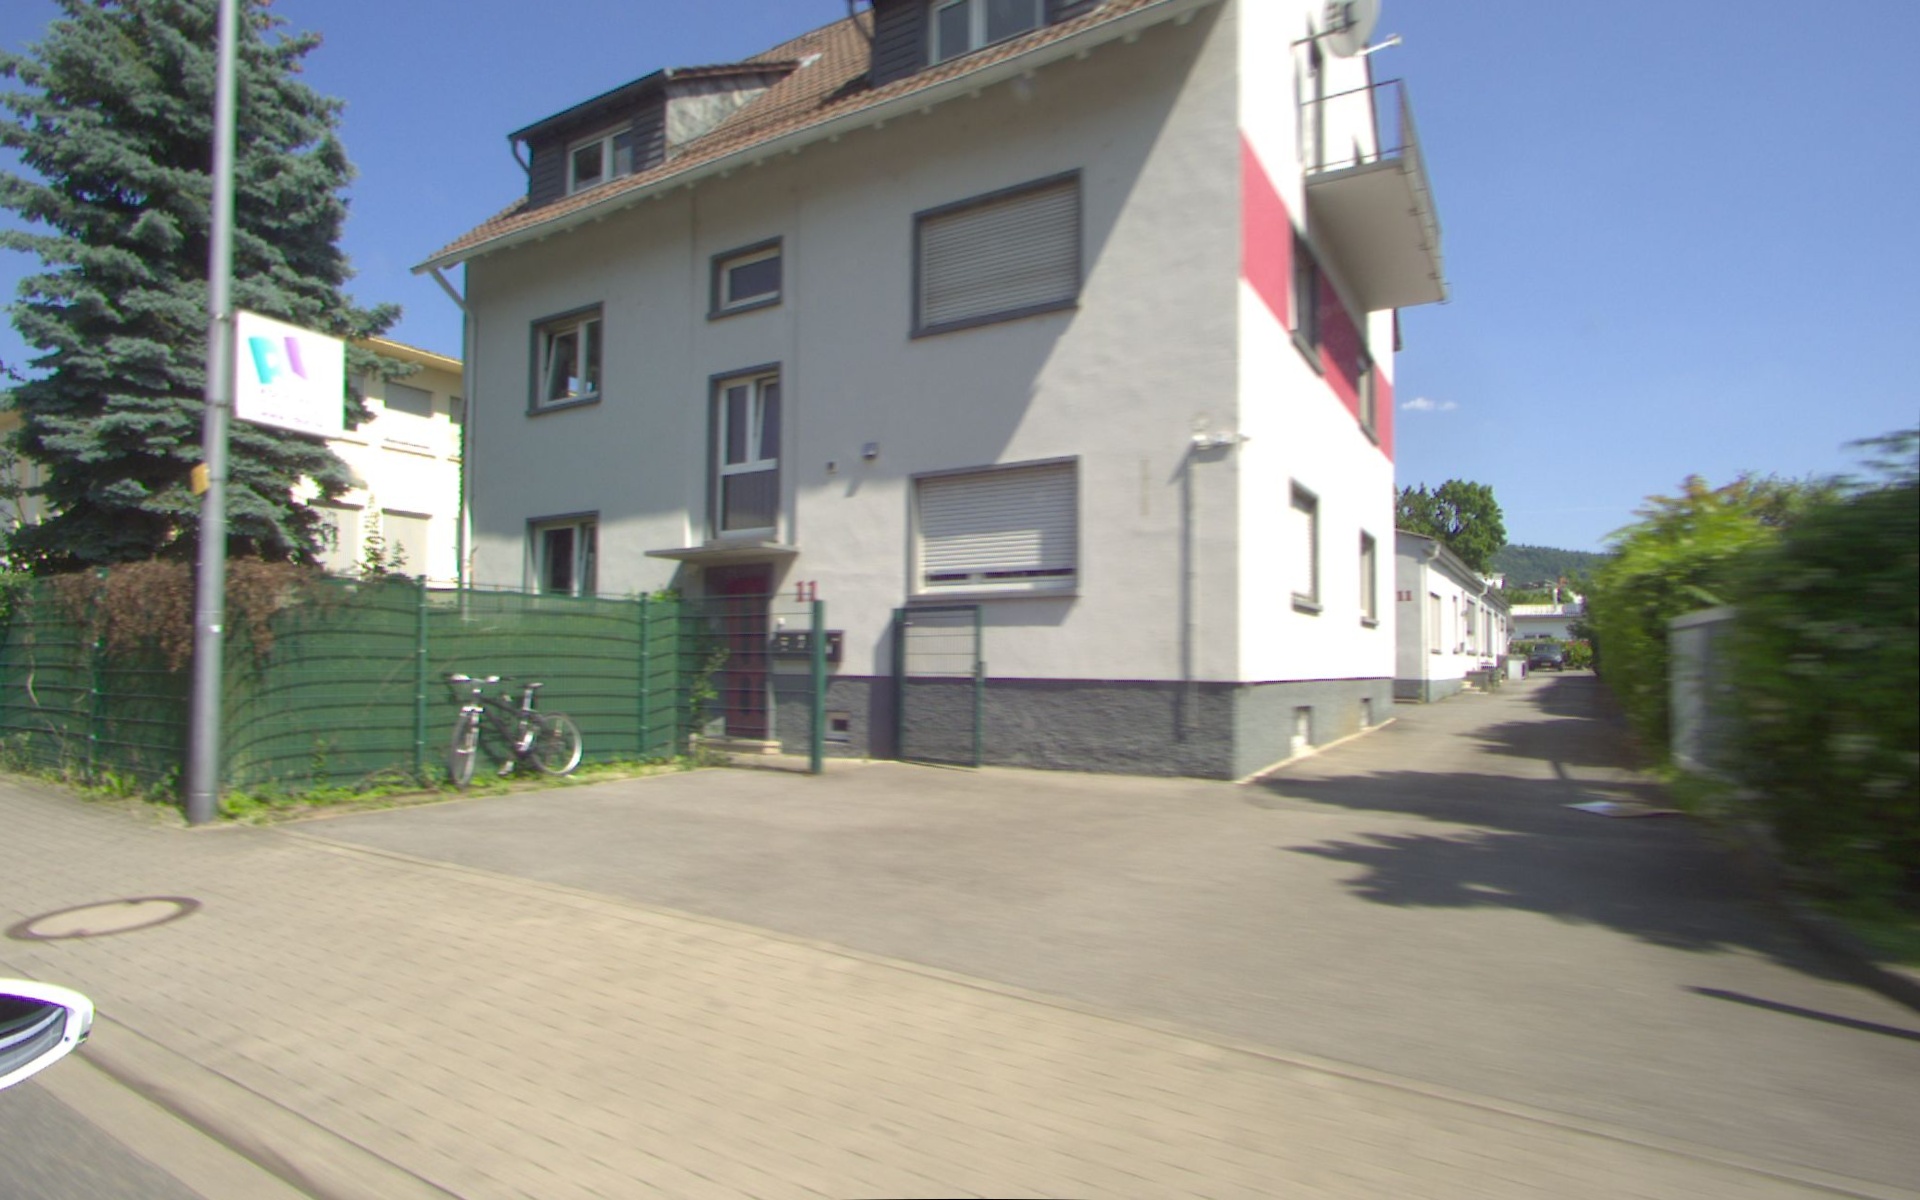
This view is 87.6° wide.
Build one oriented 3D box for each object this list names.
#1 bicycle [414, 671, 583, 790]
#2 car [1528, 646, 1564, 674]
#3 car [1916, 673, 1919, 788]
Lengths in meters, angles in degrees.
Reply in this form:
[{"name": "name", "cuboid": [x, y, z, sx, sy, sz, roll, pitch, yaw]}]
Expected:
[{"name": "bicycle", "cuboid": [-4.241, 1.173, 9.302, 0.382, 1.002, 1.470, -3, -4, 30]}, {"name": "car", "cuboid": [37.185, 3.764, 63.593, 1.758, 1.661, 3.985, 1, -1, 29]}, {"name": "car", "cuboid": [13.311, 1.537, 10.311, 4.700, 1.396, 1.885, -1, -3, 32]}]
